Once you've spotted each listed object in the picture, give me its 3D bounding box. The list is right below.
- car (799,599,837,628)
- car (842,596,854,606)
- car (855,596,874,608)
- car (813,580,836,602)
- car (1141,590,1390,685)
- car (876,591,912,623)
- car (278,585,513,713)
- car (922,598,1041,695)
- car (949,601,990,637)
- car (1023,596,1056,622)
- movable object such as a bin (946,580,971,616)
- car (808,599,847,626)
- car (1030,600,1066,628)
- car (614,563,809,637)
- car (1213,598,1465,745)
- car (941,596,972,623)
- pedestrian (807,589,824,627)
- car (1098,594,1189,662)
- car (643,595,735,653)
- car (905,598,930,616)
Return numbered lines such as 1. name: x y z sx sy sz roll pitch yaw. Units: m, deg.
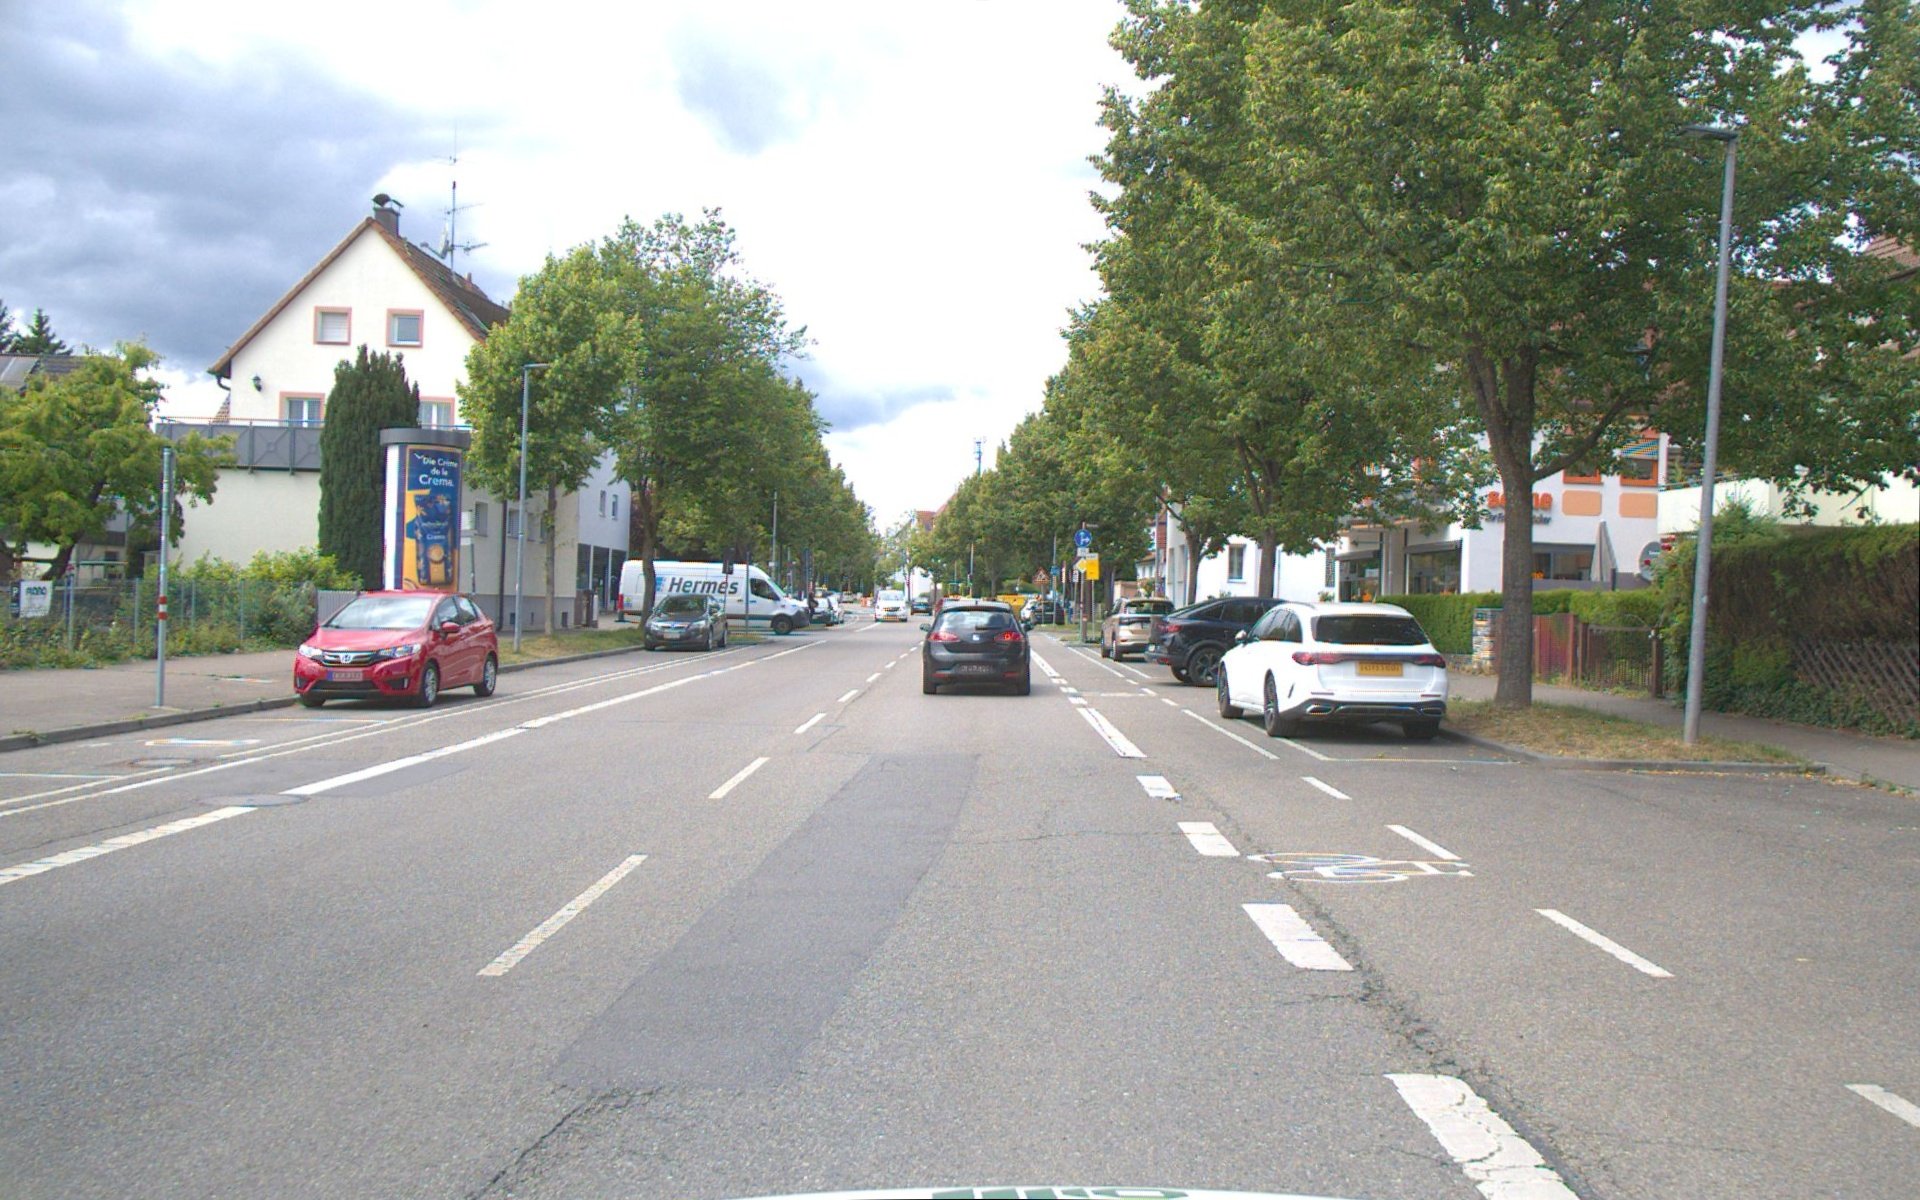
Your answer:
1. car: -7.111 0.673 83.083 1.609 1.445 4.019 0 0 -1
2. car: -16.631 0.185 245.558 1.775 1.440 3.689 1 0 -5
3. car: -11.774 0.280 204.183 1.778 1.440 3.683 1 0 -11
4. car: -14.065 -0.969 171.678 2.053 2.213 5.035 1 0 -8
5. car: 5.462 0.649 29.874 4.135 1.666 1.691 0 0 -5
6. car: -3.969 0.402 99.609 1.926 1.862 4.819 1 0 0
7. car: -7.625 0.608 22.767 1.650 1.568 4.133 1 0 2
8. car: 0.287 0.712 27.088 1.782 1.463 3.738 0 0 -2
9. car: 0.483 0.914 80.609 1.866 1.715 3.741 0 0 2
10. car: 4.822 0.530 100.847 1.639 1.488 3.998 1 0 -3
11. movable object such as a bin: -0.129 -0.139 122.841 1.733 2.619 3.738 1 0 -2
12. car: -7.163 0.654 89.715 1.678 1.431 4.301 1 0 2
13. car: 4.797 0.737 90.926 1.671 1.480 4.615 0 0 -1
14. car: -9.390 0.000 63.061 7.144 2.640 2.219 1 0 -4
15. car: 4.308 0.748 19.589 1.769 1.500 4.811 1 0 -1
16. car: -0.261 0.573 104.453 1.755 1.651 3.737 0 0 -4
17. pedestrian: -6.557 0.361 74.969 0.531 1.710 0.751 2 1 8
18. car: 4.562 0.659 41.564 1.687 1.608 4.059 1 0 -2
19. car: -7.355 0.626 45.261 1.695 1.494 4.302 0 0 1
20. car: -3.434 0.585 133.602 1.774 1.399 3.689 1 0 -5
